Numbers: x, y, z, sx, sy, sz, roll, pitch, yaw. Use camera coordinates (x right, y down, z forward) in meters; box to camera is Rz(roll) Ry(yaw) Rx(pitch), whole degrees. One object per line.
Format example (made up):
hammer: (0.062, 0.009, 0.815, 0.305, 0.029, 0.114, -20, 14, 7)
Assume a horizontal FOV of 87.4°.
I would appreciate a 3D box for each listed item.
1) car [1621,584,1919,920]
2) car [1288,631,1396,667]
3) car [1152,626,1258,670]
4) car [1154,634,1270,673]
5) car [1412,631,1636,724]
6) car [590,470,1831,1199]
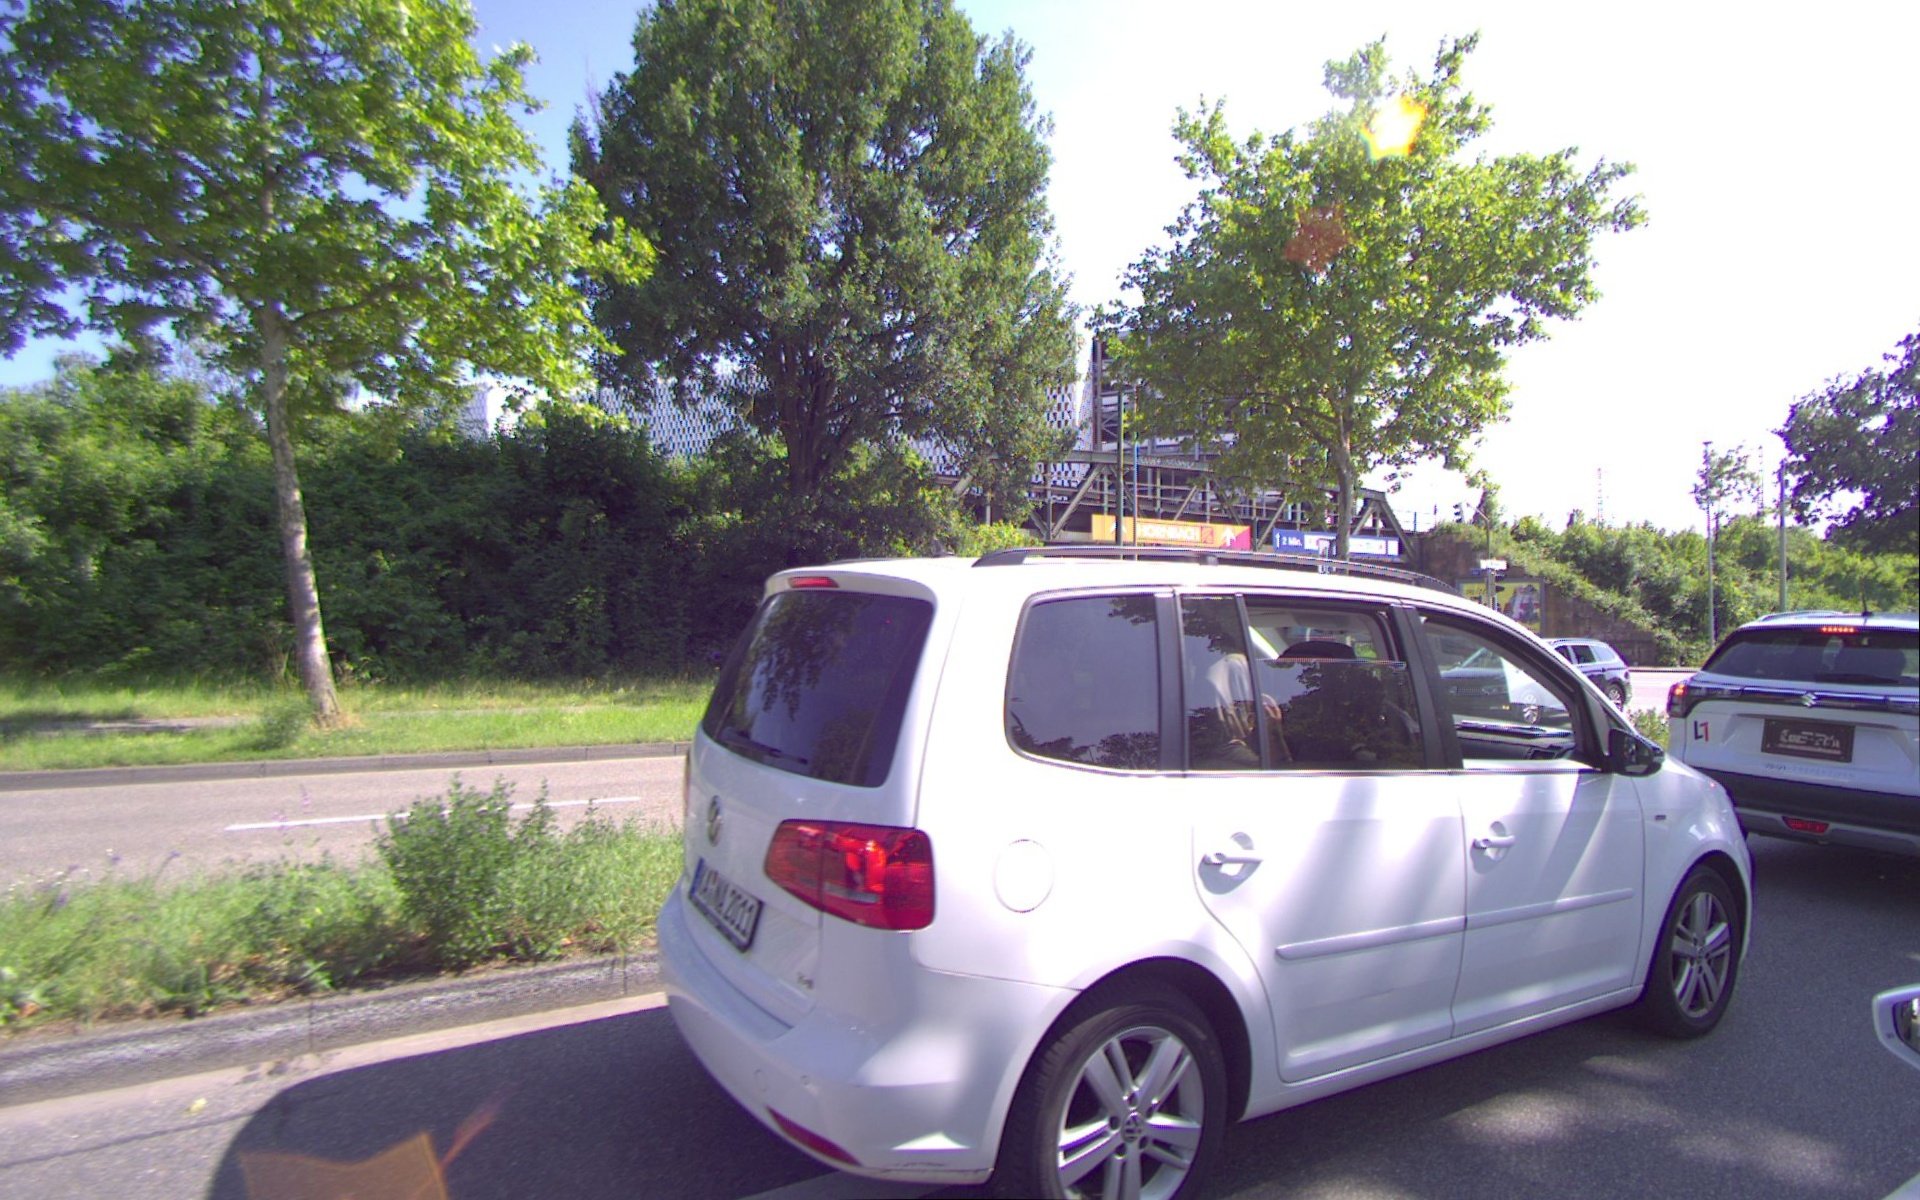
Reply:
car: (6.274, 0.812, 6.449, 4.036, 1.669, 1.763, 2, -1, -30)
car: (16.475, 2.096, 43.341, 4.250, 1.445, 1.485, 0, -2, 26)
car: (10.435, 2.015, 42.754, 4.055, 1.754, 1.880, -1, -2, 28)
car: (9.547, 1.986, 38.082, 3.927, 1.363, 1.880, -1, -2, 28)
car: (10.214, 1.346, 18.129, 4.112, 1.505, 1.729, 1, -4, -32)
car: (1.090, 0.673, 3.604, 4.300, 1.669, 1.763, 2, -1, -30)
